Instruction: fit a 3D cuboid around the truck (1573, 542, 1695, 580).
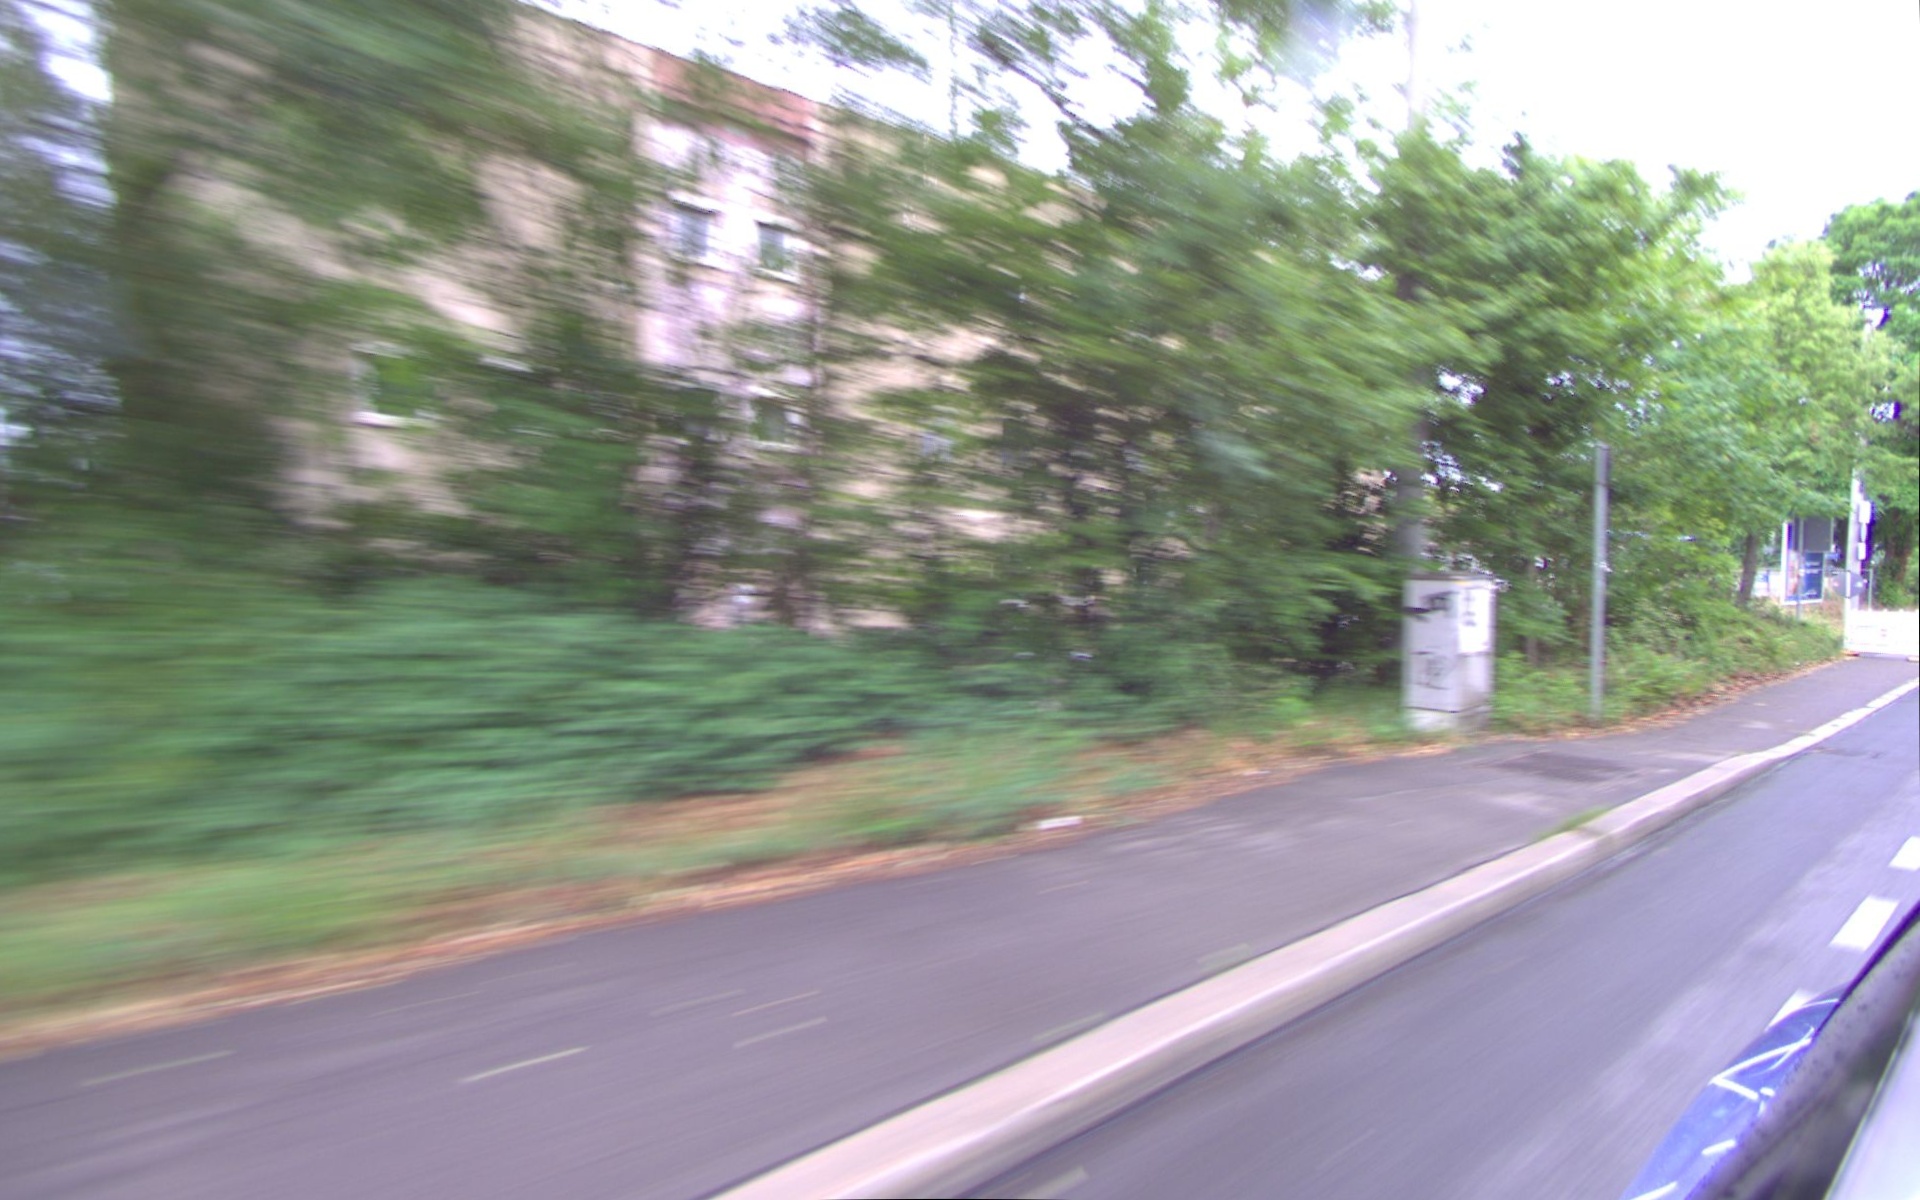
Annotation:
[{"bbox_3d":[53.963,-3.199,81.248,2.543,2.849,7.750,-3,4,-42],"label":"truck"}]
